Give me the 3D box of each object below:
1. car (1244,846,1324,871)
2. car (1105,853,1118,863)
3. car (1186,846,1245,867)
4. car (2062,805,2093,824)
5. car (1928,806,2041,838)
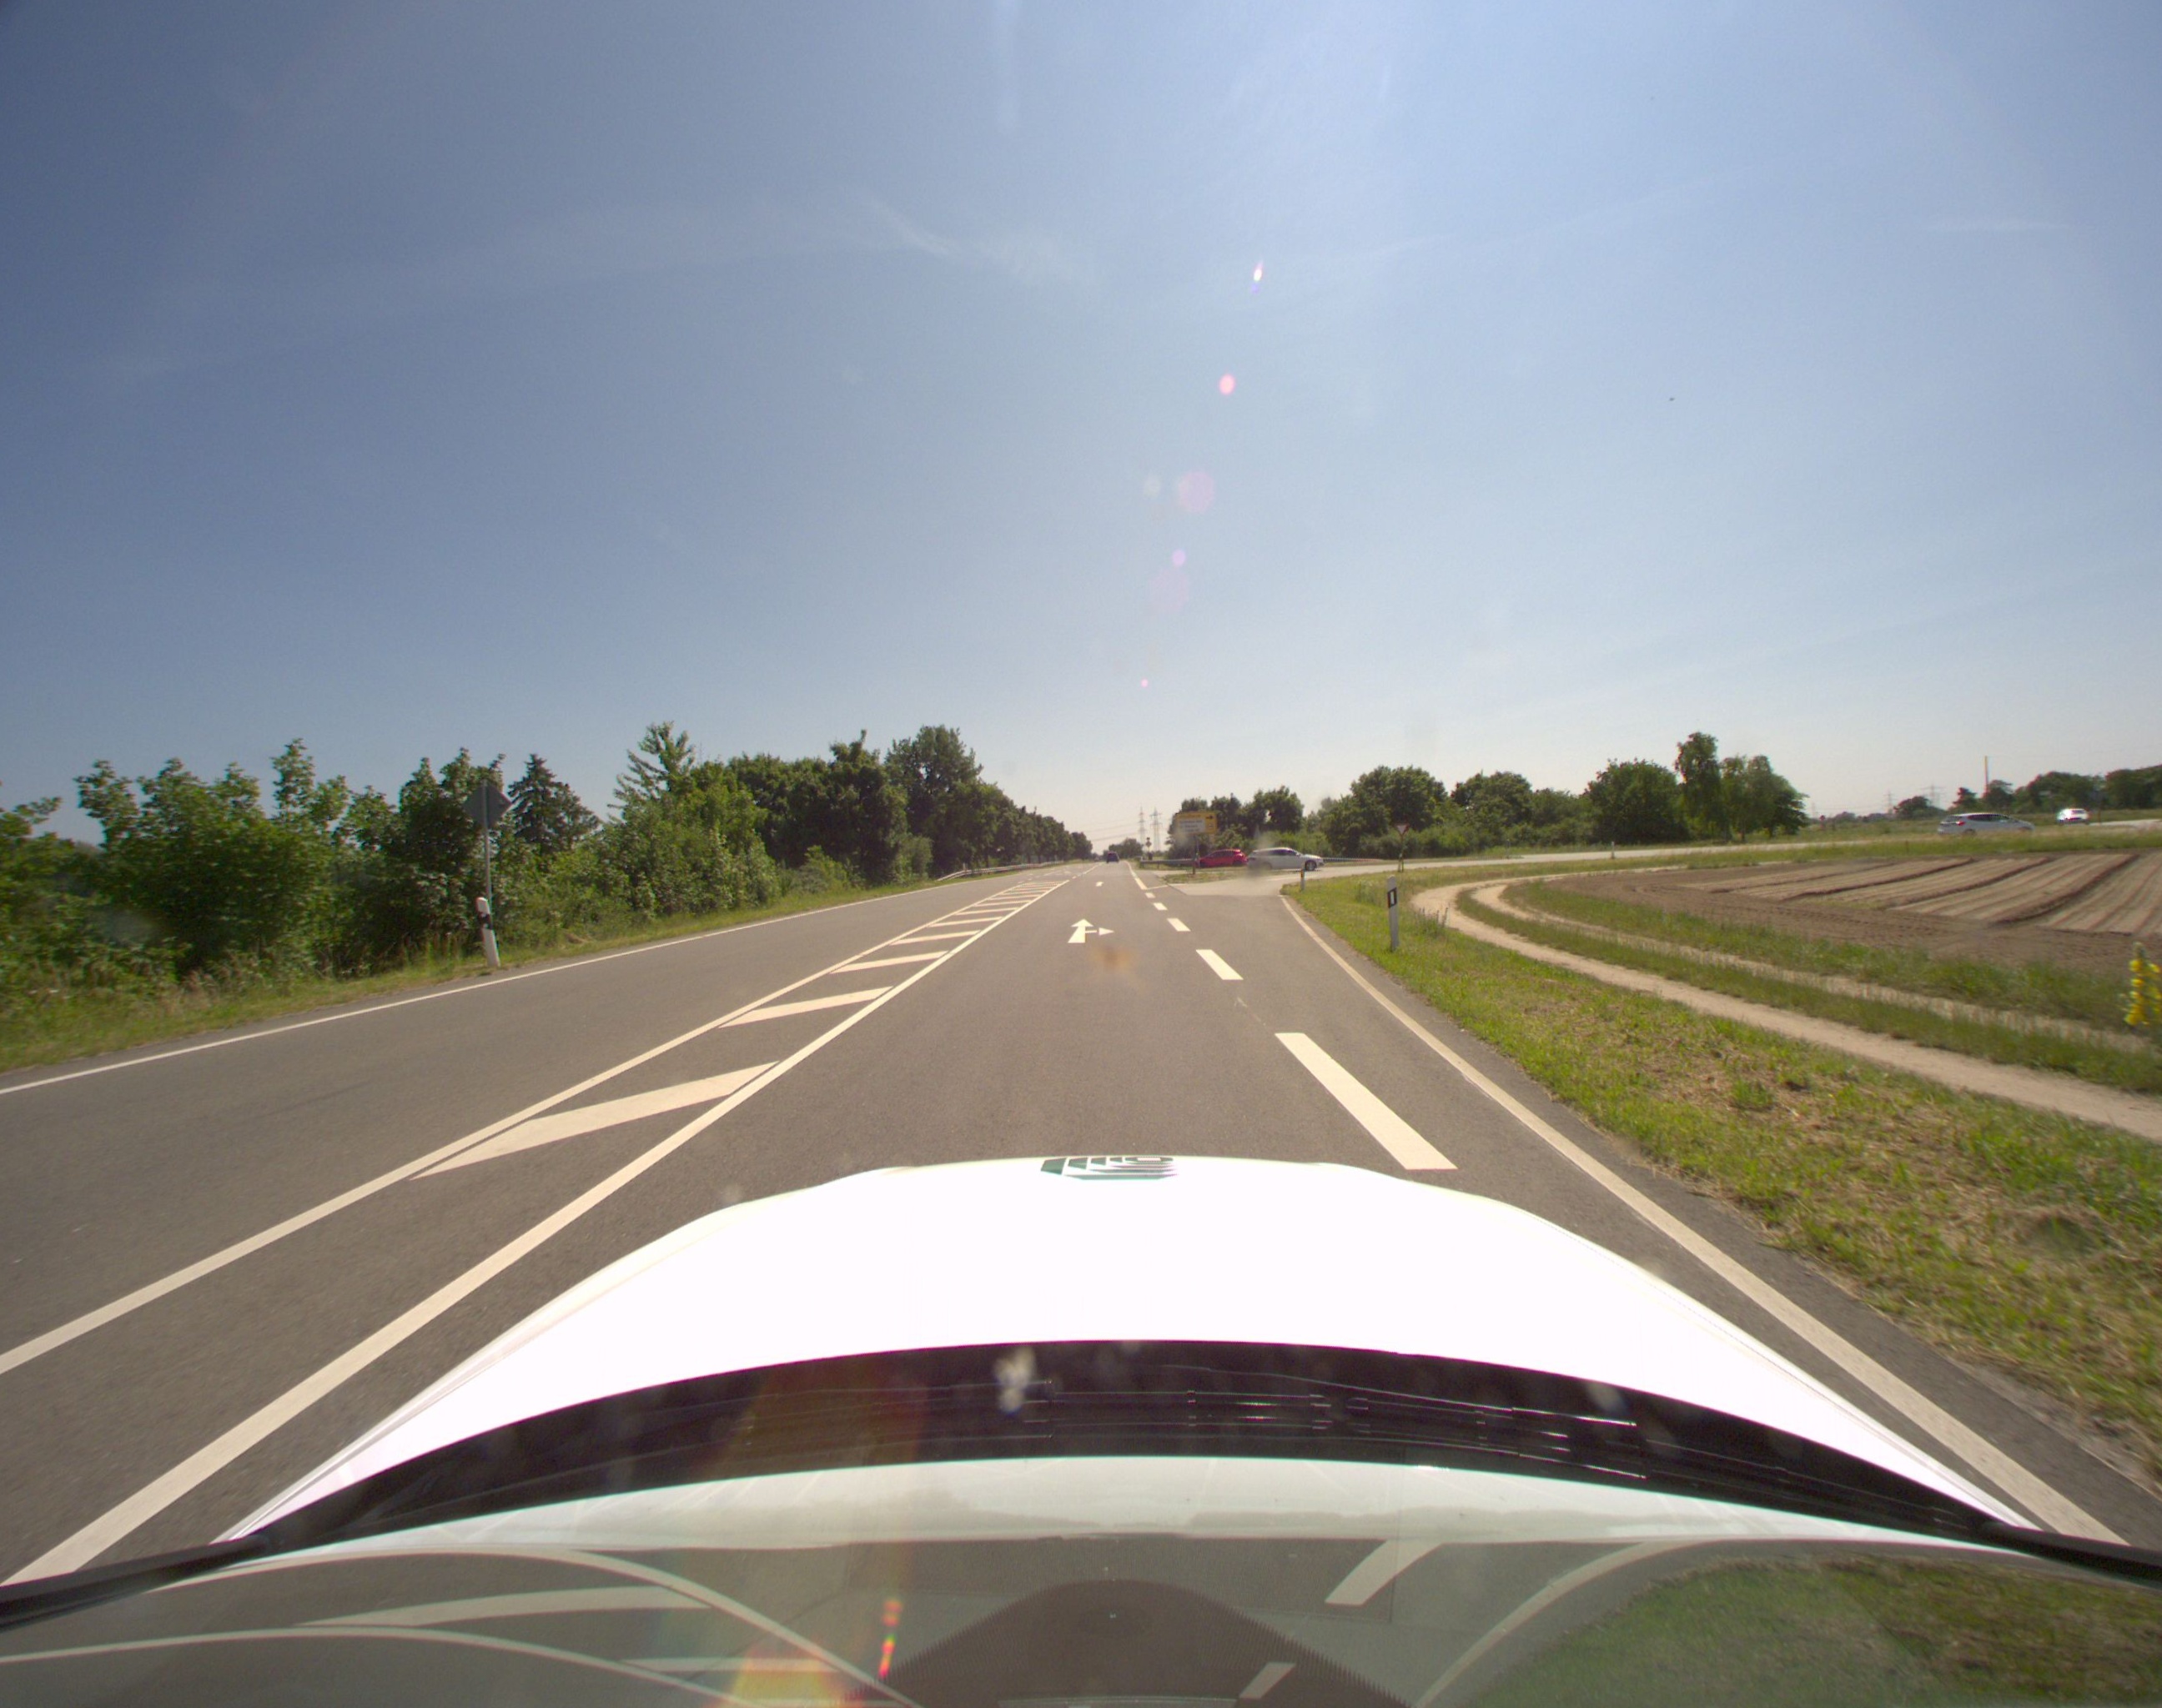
[{"bbox_3d":[12.515,0.269,50.404,4.672,1.418,1.846,-1,0,9],"label":"car"},{"bbox_3d":[4.679,0.667,126.298,1.878,1.518,4.040,-1,0,1],"label":"car"},{"bbox_3d":[10.145,0.199,61.352,4.121,1.418,1.787,-2,-1,15],"label":"car"},{"bbox_3d":[91.398,-3.645,74.751,4.792,1.623,1.625,-3,0,-41],"label":"car"},{"bbox_3d":[54.808,-1.908,49.478,4.099,1.623,2.079,-3,0,14],"label":"car"}]
